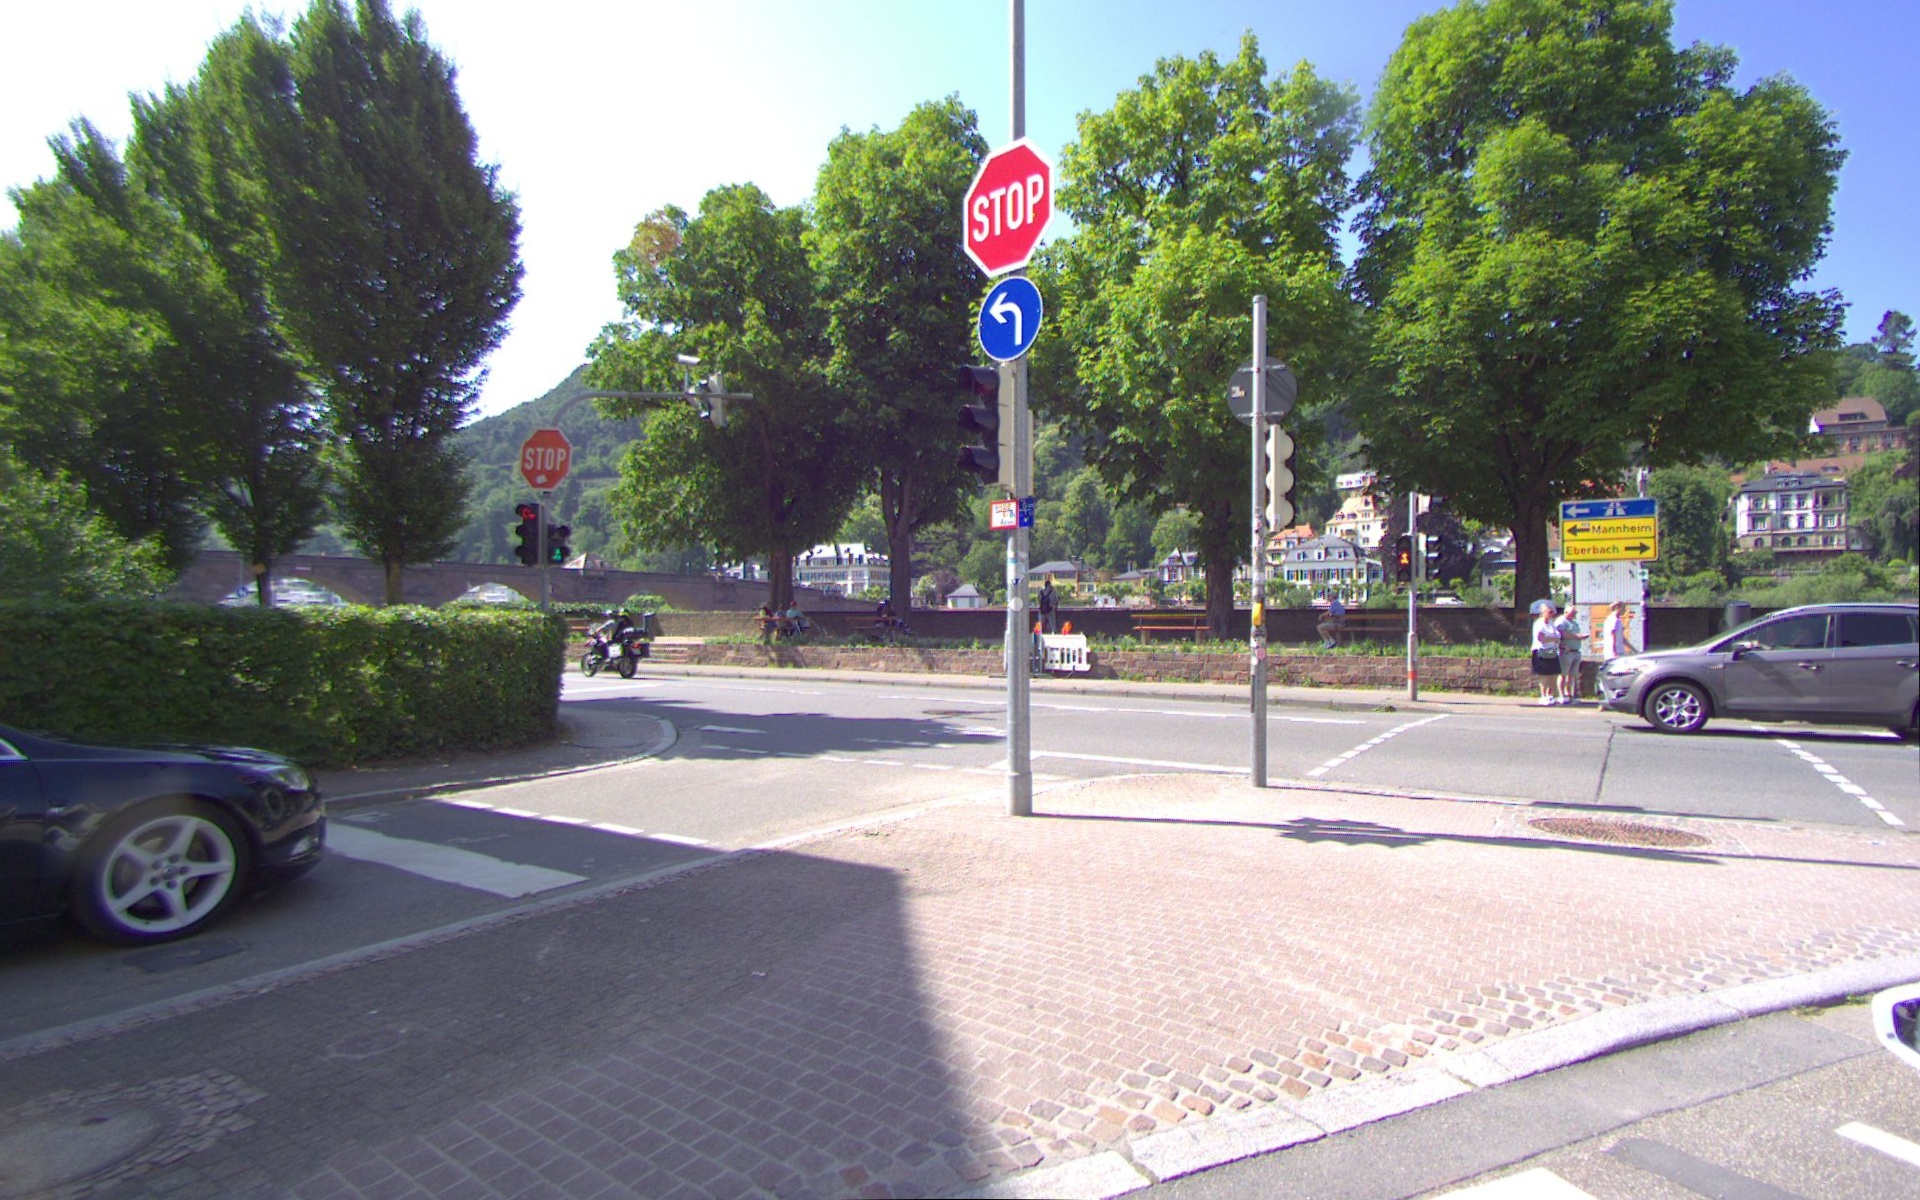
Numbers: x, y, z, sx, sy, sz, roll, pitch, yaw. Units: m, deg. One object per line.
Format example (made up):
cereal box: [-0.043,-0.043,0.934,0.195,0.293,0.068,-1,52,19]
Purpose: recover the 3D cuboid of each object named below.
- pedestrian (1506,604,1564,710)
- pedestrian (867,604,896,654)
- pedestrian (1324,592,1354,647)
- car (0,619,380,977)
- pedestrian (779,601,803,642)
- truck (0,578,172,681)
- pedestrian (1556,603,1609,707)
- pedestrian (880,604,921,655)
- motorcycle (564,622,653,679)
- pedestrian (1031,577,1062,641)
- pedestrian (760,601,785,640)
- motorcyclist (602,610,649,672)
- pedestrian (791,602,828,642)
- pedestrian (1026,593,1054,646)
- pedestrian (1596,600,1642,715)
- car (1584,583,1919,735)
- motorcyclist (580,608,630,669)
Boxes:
pedestrian: [10.158,1.005,17.768,0.709,1.825,0.634,-1,-3,14]
pedestrian: [-2.366,0.880,30.395,0.461,1.513,0.801,-1,-2,37]
pedestrian: [8.729,0.448,23.145,0.630,1.244,0.414,0,-2,19]
car: [-5.131,0.835,3.951,1.690,1.481,4.713,-3,-3,32]
pedestrian: [-5.463,0.697,32.504,0.461,1.287,0.629,-1,-2,37]
truck: [-40.972,1.335,46.246,12.543,4.270,3.207,-1,-2,32]
pedestrian: [11.012,0.976,17.791,0.677,1.792,0.717,-1,-3,25]
pedestrian: [-1.787,0.902,30.278,0.461,1.499,1.380,-1,-2,37]
motorcycle: [-8.962,1.276,25.592,2.428,1.394,0.762,-1,-2,31]
pedestrian: [2.575,0.270,29.811,0.749,1.882,0.757,1,-2,15]
pedestrian: [-6.160,0.683,33.029,0.461,1.287,0.629,-1,-2,37]
motorcyclist: [-8.432,1.031,25.319,0.760,1.513,0.817,-1,-2,31]
pedestrian: [-4.847,0.713,32.435,0.461,1.287,1.219,-1,-2,37]
pedestrian: [2.669,0.657,33.382,0.696,1.754,0.756,0,-2,23]
pedestrian: [10.757,0.928,16.415,0.569,1.825,0.704,0,-2,29]
car: [10.689,0.743,13.025,4.332,1.776,1.841,1,-4,31]
motorcyclist: [-9.077,0.978,25.711,0.859,1.514,0.817,0,-1,31]
